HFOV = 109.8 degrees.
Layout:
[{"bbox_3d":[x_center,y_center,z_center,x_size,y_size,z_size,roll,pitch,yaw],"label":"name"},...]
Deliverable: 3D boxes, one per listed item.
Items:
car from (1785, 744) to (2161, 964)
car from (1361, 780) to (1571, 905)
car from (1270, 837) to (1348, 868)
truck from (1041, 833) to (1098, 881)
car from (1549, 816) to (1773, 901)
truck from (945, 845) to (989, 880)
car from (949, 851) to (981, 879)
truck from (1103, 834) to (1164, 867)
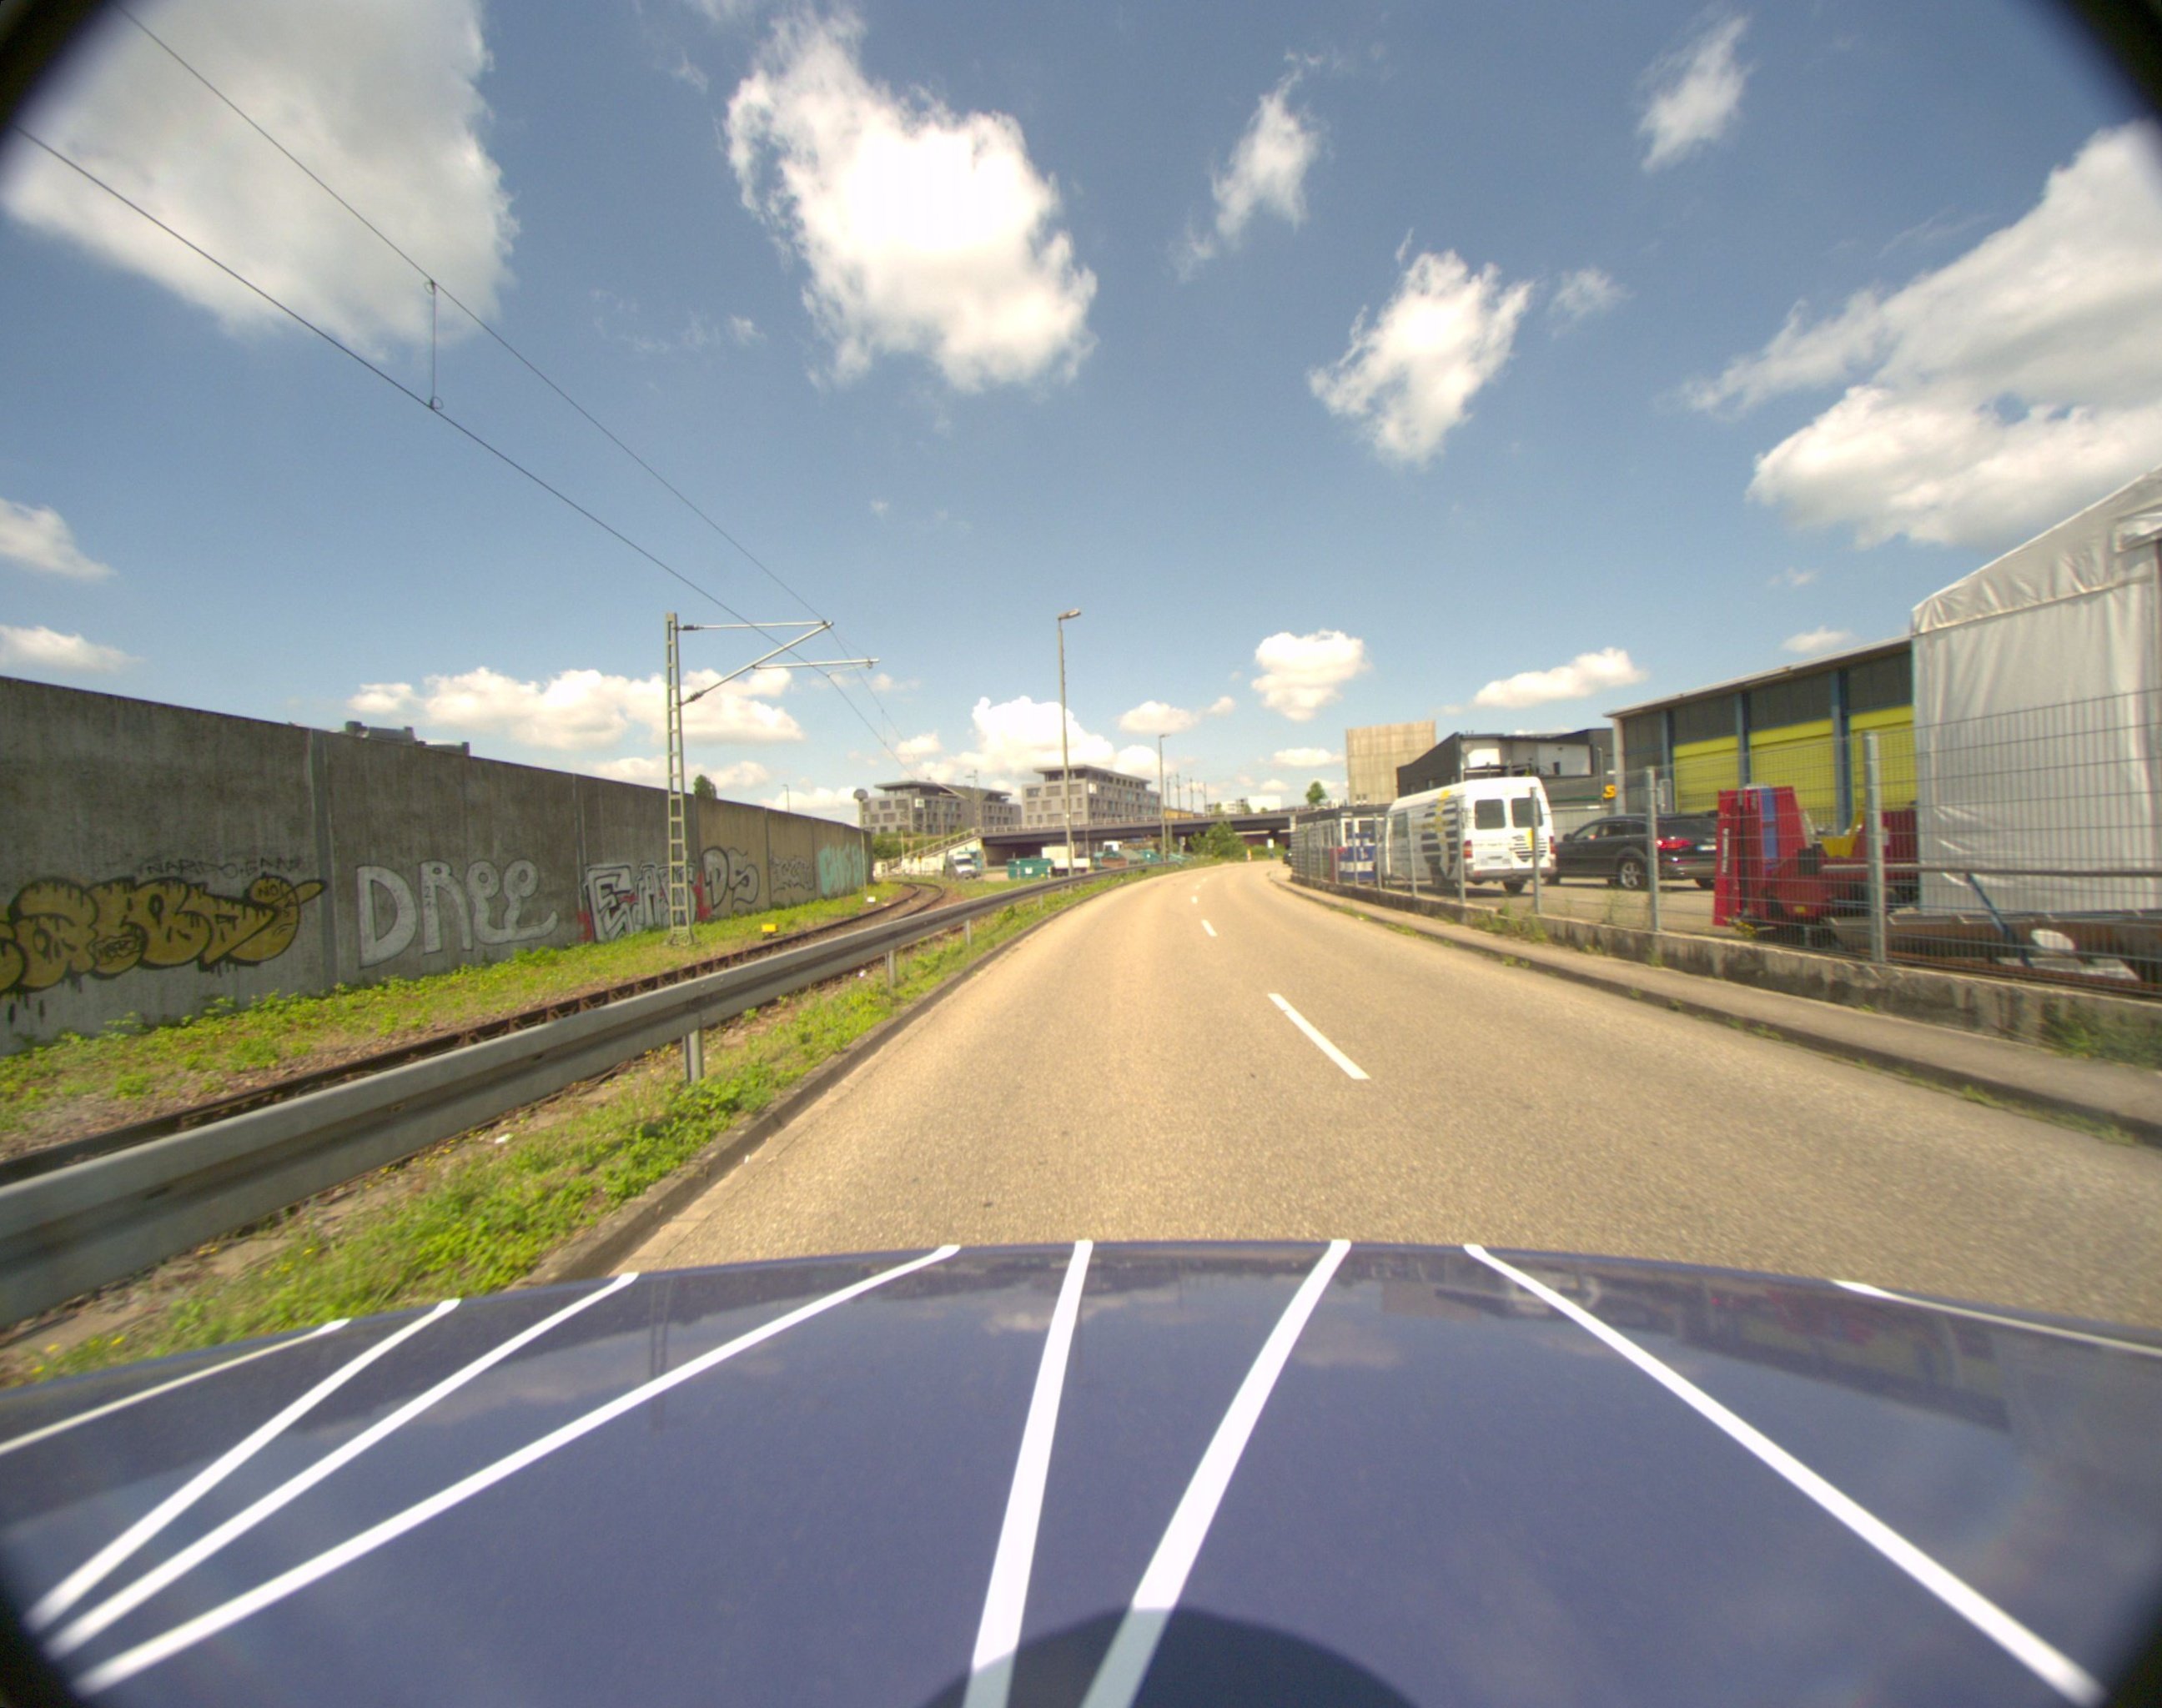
[{"bbox_3d":[10.802,-0.073,8.433,4.571,2.015,2.056,-2,1,-11],"label":"car"},{"bbox_3d":[9.239,-0.246,19.147,2.124,2.522,6.718,-2,0,3],"label":"car"},{"bbox_3d":[17.610,-0.136,58.818,5.341,1.905,1.999,-5,1,-5],"label":"car"},{"bbox_3d":[-1.013,0.221,59.293,2.996,3.399,8.106,-2,1,-11],"label":"truck"},{"bbox_3d":[12.927,0.088,17.314,1.983,1.658,3.999,-2,0,-1],"label":"car"},{"bbox_3d":[-12.956,0.972,85.932,2.658,3.625,6.873,-5,2,-27],"label":"truck"},{"bbox_3d":[-11.427,1.030,74.575,2.068,2.512,5.873,-4,1,-17],"label":"car"},{"bbox_3d":[5.088,-0.333,73.580,5.501,3.080,2.003,-2,1,23],"label":"truck"}]
